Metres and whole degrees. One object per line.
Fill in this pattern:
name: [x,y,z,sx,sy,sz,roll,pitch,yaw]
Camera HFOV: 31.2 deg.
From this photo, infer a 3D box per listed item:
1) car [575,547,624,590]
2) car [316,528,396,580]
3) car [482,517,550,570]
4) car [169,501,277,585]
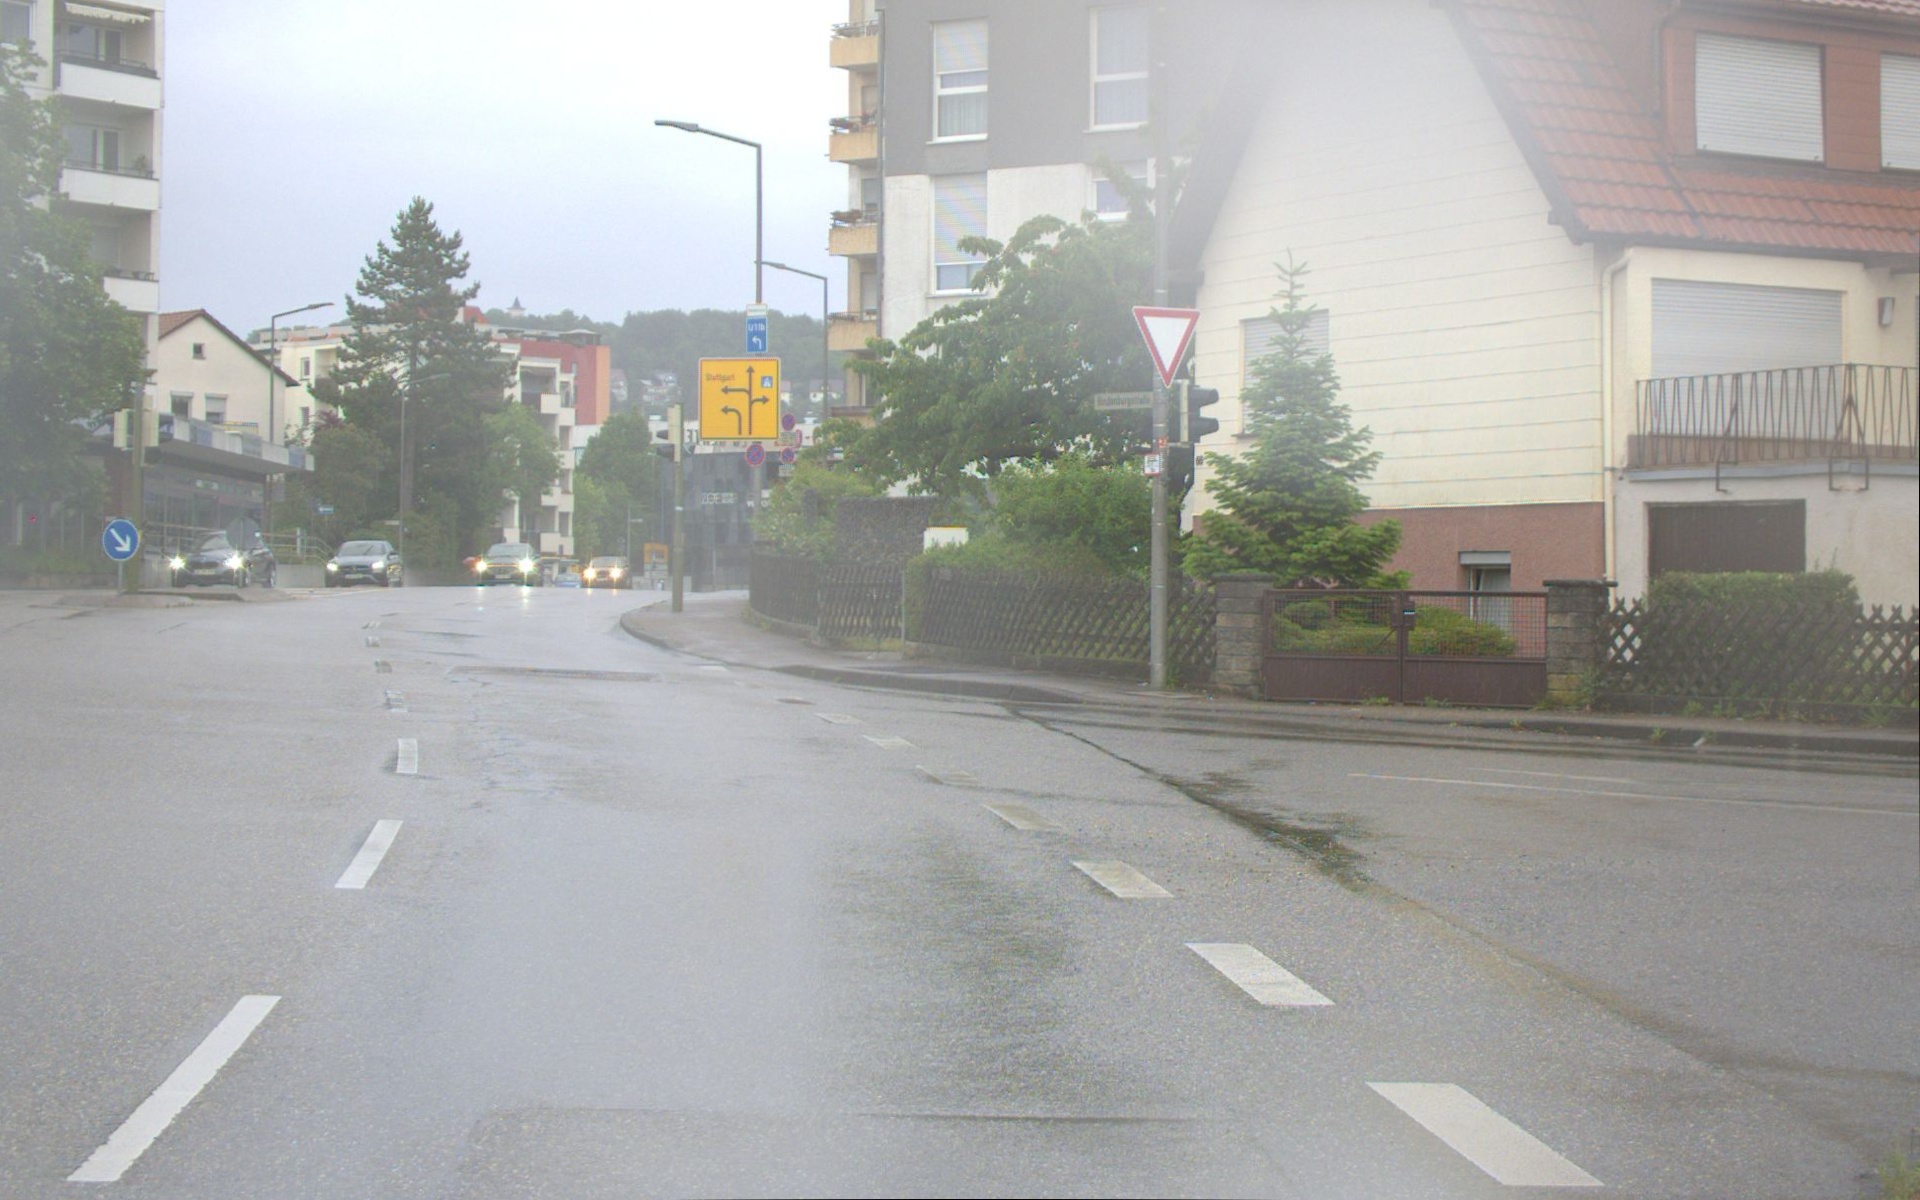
car: [-15.594,-1.368,148.829,1.993,1.805,4.001,1,1,-5]
car: [-17.894,-1.360,101.999,1.993,1.458,4.001,1,1,-5]
car: [-14.414,-1.815,111.763,1.993,1.673,4.001,1,1,-5]
car: [-17.329,-1.329,80.952,1.993,1.897,4.001,1,1,-5]
